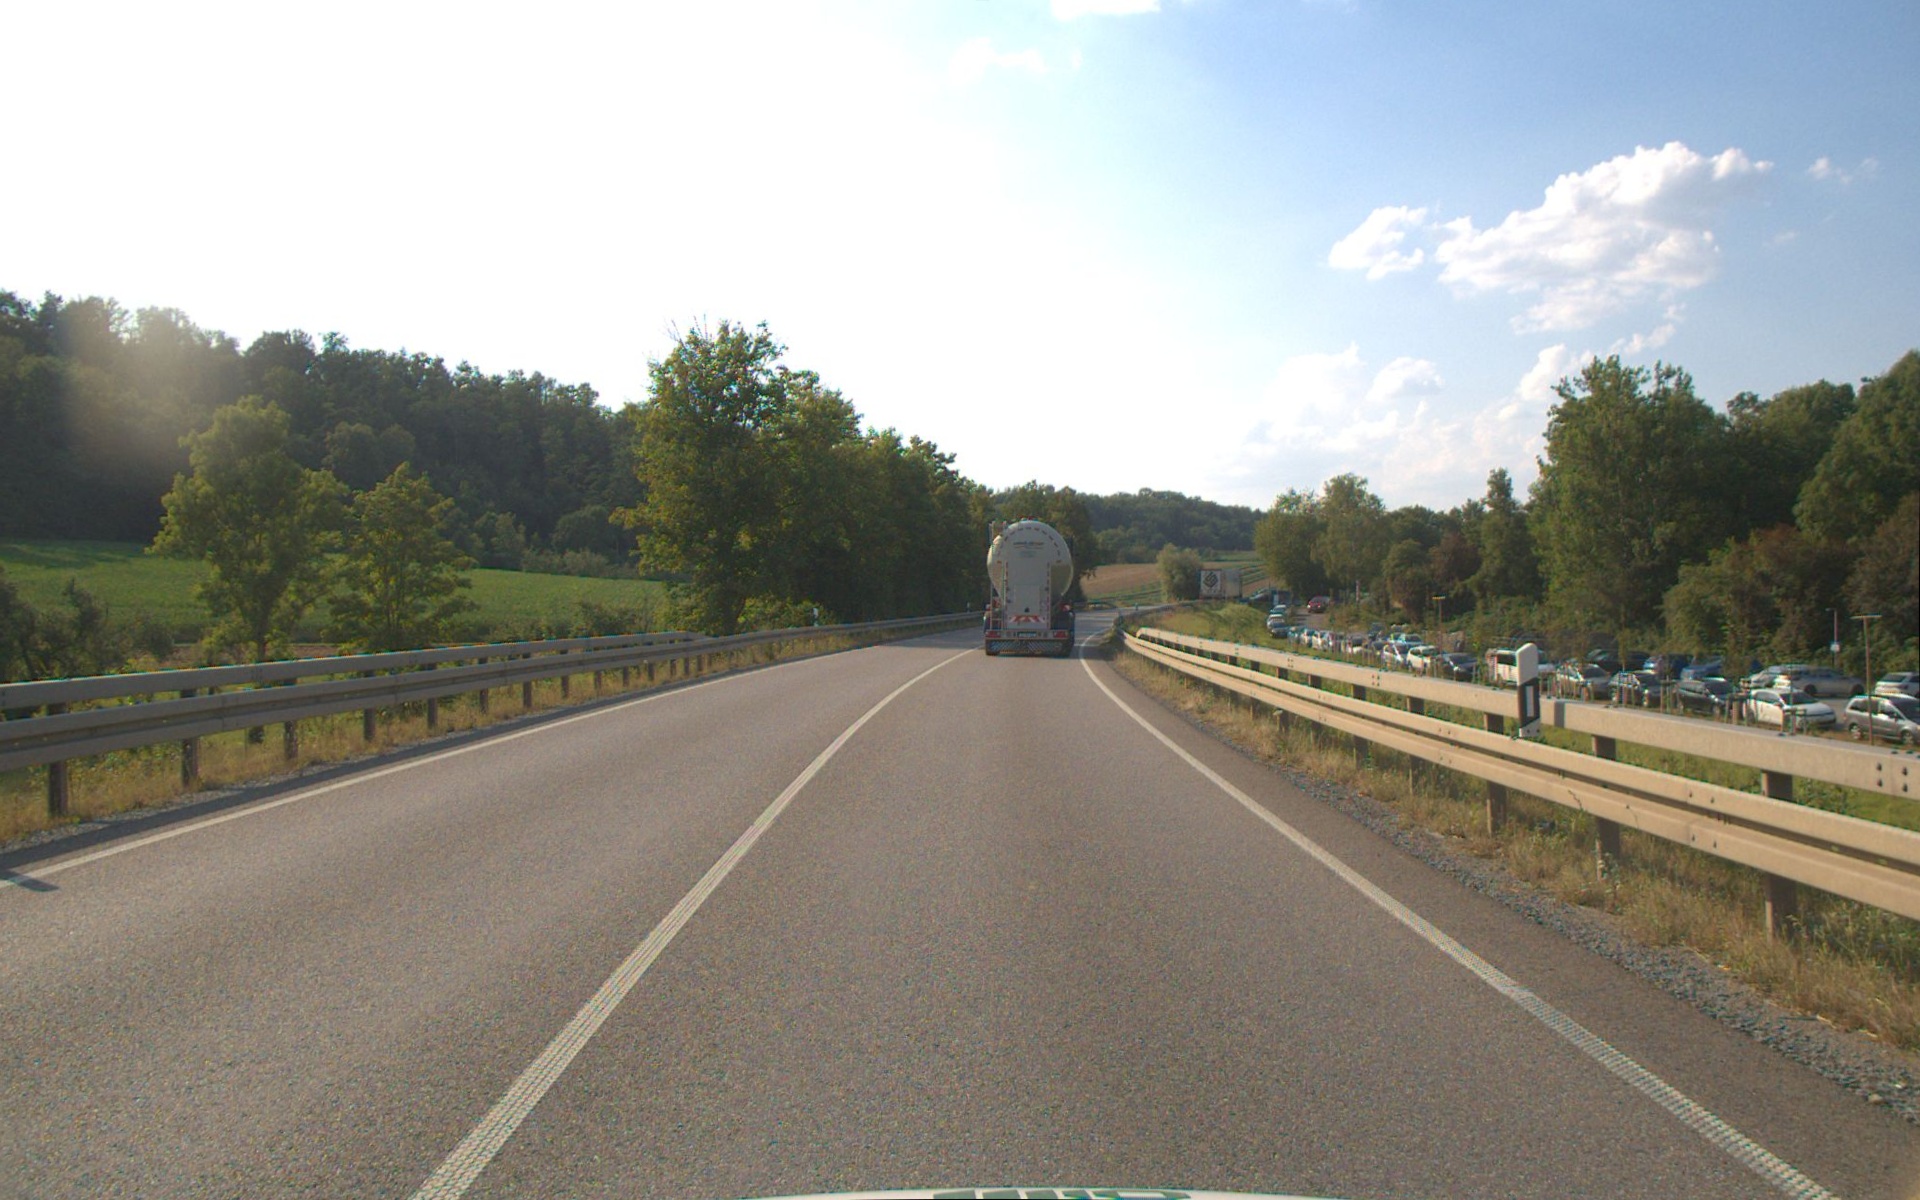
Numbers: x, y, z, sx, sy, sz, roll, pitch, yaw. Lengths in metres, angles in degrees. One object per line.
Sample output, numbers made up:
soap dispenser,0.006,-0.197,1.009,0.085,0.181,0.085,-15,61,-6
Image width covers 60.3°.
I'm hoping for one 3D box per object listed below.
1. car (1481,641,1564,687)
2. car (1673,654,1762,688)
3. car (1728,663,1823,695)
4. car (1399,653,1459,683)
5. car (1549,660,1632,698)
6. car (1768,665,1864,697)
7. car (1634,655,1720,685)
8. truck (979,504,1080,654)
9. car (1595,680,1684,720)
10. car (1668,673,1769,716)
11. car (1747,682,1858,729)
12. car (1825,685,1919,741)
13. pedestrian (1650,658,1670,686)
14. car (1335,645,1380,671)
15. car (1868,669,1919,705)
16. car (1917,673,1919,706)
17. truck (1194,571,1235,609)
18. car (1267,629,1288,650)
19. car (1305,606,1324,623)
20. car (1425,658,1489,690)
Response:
car,30.796,3.471,90.728,2.079,2.053,5.371,-4,1,-7
car,41.170,3.848,89.890,4.159,1.773,1.828,0,0,-13
car,41.396,3.989,83.970,4.159,1.524,1.766,1,0,-13
car,29.835,4.307,105.306,1.856,1.586,4.775,-4,1,-7
car,31.973,3.978,83.958,1.856,1.508,4.775,-4,1,-7
car,41.943,3.977,81.051,4.161,1.481,1.612,0,0,-14
car,40.597,3.962,93.708,4.153,1.632,1.830,1,-1,-8
truck,2.160,-0.567,53.312,2.833,4.215,13.174,0,0,2
car,32.323,4.718,78.772,1.785,1.508,4.383,-2,1,-11
car,33.216,4.123,72.521,1.785,1.508,4.383,-2,1,-11
car,34.094,4.236,67.053,1.785,1.508,4.245,-2,1,-11
car,34.690,4.199,61.966,1.785,1.687,4.245,-2,1,-11
pedestrian,38.936,4.004,92.002,0.901,1.496,0.888,-2,1,27
car,29.478,4.288,122.725,1.855,1.586,4.779,-4,1,-4
car,44.006,3.957,75.786,4.332,1.481,1.726,0,0,-17
car,44.783,3.966,73.316,4.161,1.481,1.612,-1,0,-14
truck,29.943,-1.227,194.014,3.116,4.301,13.181,-1,1,16
car,30.222,3.771,157.535,1.851,1.586,4.787,-4,1,11
car,40.417,1.643,188.636,1.851,1.716,5.092,-4,1,11
car,29.848,4.448,99.530,1.856,1.508,4.775,-4,1,-7
